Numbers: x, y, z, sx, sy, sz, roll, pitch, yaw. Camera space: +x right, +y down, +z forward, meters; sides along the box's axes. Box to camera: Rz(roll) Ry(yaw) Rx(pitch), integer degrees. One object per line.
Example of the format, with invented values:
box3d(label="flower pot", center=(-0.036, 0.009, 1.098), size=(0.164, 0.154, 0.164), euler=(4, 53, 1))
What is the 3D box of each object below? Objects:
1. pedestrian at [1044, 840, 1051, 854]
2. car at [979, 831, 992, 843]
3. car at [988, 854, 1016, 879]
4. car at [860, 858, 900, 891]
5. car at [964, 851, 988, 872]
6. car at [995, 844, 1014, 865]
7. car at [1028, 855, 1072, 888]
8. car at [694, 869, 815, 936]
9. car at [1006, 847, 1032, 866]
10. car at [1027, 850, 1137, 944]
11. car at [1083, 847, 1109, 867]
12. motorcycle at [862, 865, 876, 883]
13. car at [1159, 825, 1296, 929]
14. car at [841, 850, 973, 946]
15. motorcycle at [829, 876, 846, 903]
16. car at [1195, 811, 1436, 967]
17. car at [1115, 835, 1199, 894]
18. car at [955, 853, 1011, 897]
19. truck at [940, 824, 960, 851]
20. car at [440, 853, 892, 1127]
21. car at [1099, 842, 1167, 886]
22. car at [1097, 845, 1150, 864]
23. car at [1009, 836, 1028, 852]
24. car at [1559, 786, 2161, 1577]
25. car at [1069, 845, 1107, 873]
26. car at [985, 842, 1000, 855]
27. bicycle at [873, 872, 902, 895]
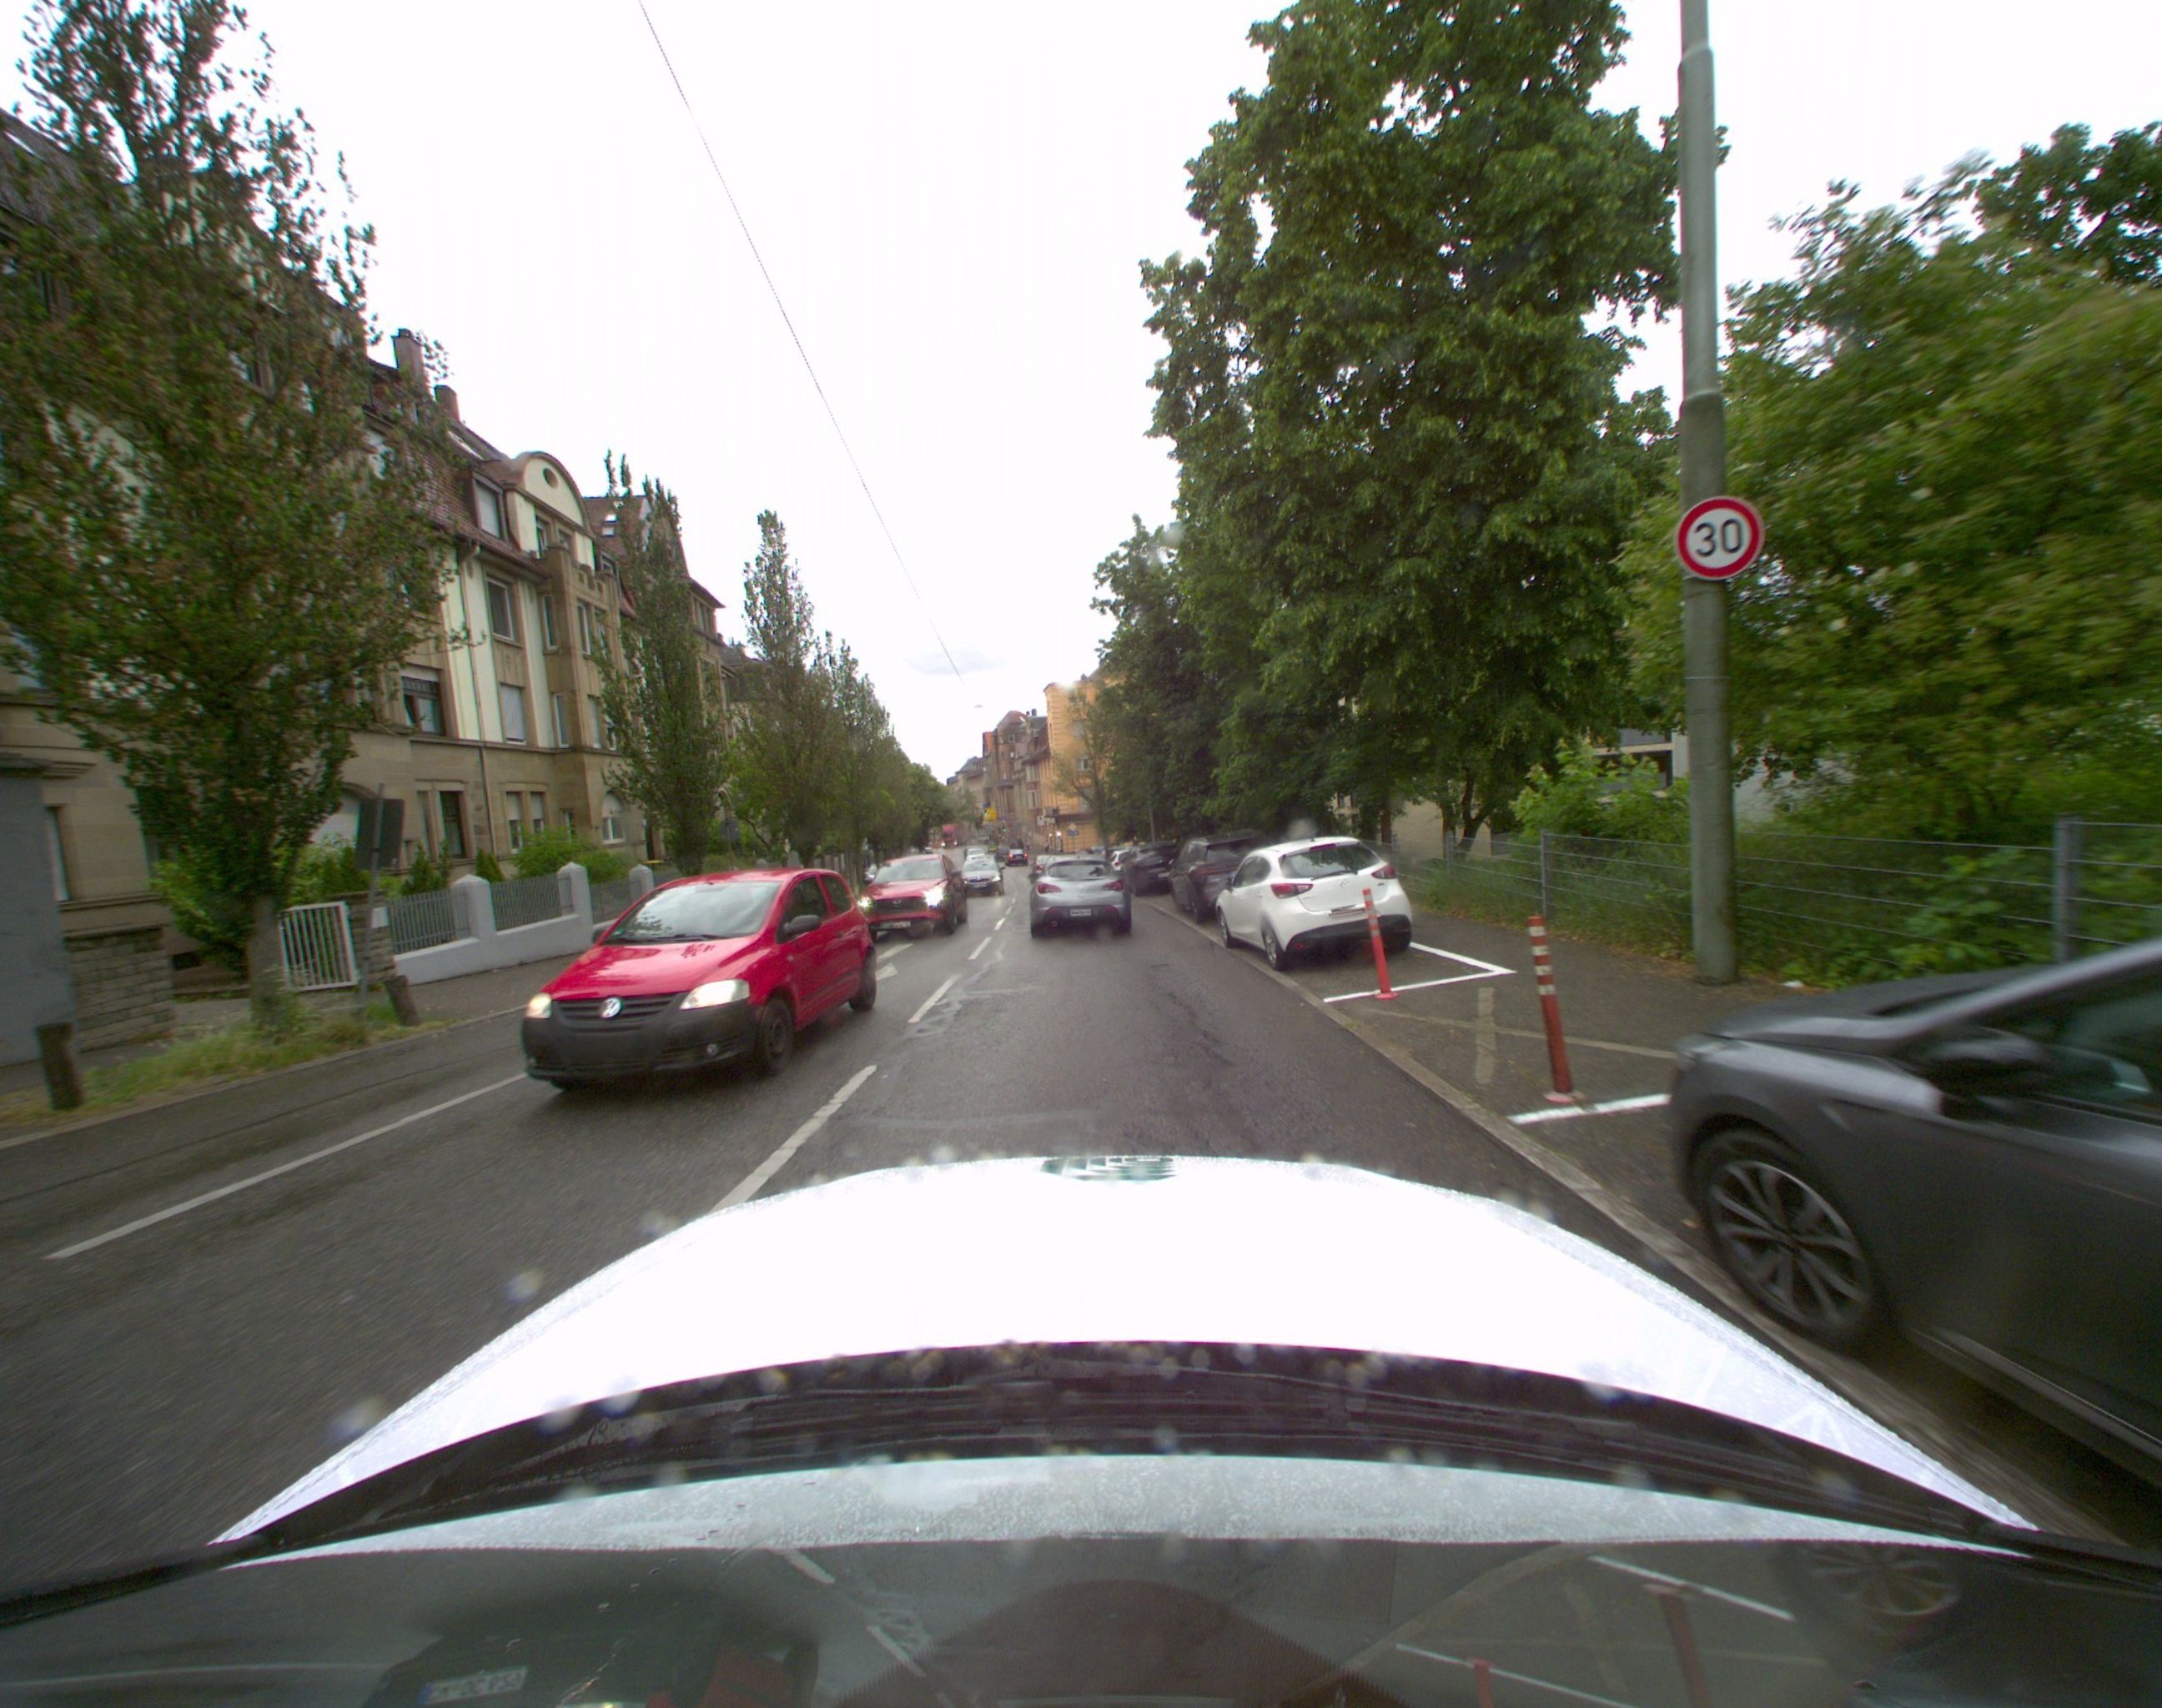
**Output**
box3d(label="pedestrian", center=(-3.584, -0.737, 86.247), size=(0.612, 1.496, 0.551), euler=(-4, 3, -6))
box3d(label="car", center=(-16.304, -2.879, 139.076), size=(1.783, 1.855, 3.985), euler=(-3, 0, -11))
box3d(label="car", center=(-5.265, 0.828, 53.822), size=(1.659, 1.448, 3.984), euler=(-4, 0, -6))
box3d(label="car", center=(-11.842, 1.165, 48.293), size=(1.788, 1.651, 4.182), euler=(-8, 1, -9))
box3d(label="car", center=(-9.566, 0.657, 74.297), size=(1.820, 1.650, 3.993), euler=(-5, 1, -5))
box3d(label="car", center=(-7.678, 0.037, 81.544), size=(1.639, 1.688, 3.707), euler=(-4, 5, -9))
box3d(label="car", center=(-1.536, 0.795, 39.027), size=(1.774, 1.430, 3.777), euler=(-3, 0, -6))
box3d(label="car", center=(-9.195, 1.310, 23.316), size=(1.809, 1.612, 3.999), euler=(-2, 0, 0))
box3d(label="car", center=(-5.009, 0.200, 65.467), size=(1.767, 1.414, 3.706), euler=(-2, 1, -9))
box3d(label="car", center=(-0.005, 0.729, 16.050), size=(1.809, 1.429, 3.999), euler=(-3, 2, -1))
box3d(label="car", center=(1.309, 0.227, 69.485), size=(1.766, 1.429, 3.795), euler=(-2, 2, 8))
box3d(label="motorcycle", center=(-15.062, 1.426, 57.809), size=(0.558, 1.237, 1.641), euler=(-5, 0, -5))
box3d(label="car", center=(2.863, 0.390, 17.052), size=(1.816, 1.682, 4.802), euler=(-6, 1, -1))
box3d(label="car", center=(-3.560, 0.812, 17.449), size=(1.841, 1.583, 4.276), euler=(-6, 1, -2))
box3d(label="motorcycle", center=(-10.798, 1.554, 36.162), size=(0.654, 1.121, 2.143), euler=(-2, 0, -15))
box3d(label="car", center=(2.950, 0.418, 11.231), size=(1.811, 1.494, 3.995), euler=(-9, 0, -3))
box3d(label="car", center=(2.440, 0.343, 27.301), size=(1.972, 1.609, 4.479), euler=(-6, 0, -4))
box3d(label="car", center=(-3.848, 0.774, 32.568), size=(1.733, 1.473, 4.278), euler=(-5, 0, -2))
box3d(label="truck", center=(-21.988, -2.794, 136.487), size=(2.790, 4.131, 10.815), euler=(-4, 3, -10))
box3d(label="car", center=(-3.023, 0.833, 7.011), size=(1.648, 1.568, 4.002), euler=(-3, 0, 2))
box3d(label="car", center=(2.029, 0.416, 33.004), size=(1.974, 1.452, 4.105), euler=(-6, 0, -6))
box3d(label="car", center=(3.226, 0.083, 62.496), size=(3.773, 1.430, 1.776), euler=(0, -1, -10))
box3d(label="car", center=(-7.885, -1.256, 102.787), size=(1.993, 1.688, 3.990), euler=(-9, 1, -7))
box3d(label="car", center=(2.802, 0.588, 1.387), size=(1.643, 1.404, 3.814), euler=(-8, 0, 1))
box3d(label="car", center=(0.422, 0.331, 52.163), size=(1.813, 1.467, 3.991), euler=(-8, 0, -6))
box3d(label="car", center=(-11.142, -0.648, 102.848), size=(1.639, 1.536, 3.705), euler=(-4, 1, -9))
box3d(label="bicycle", center=(-10.924, 1.678, 46.039), size=(1.464, 1.120, 0.379), euler=(-8, 1, -12))
